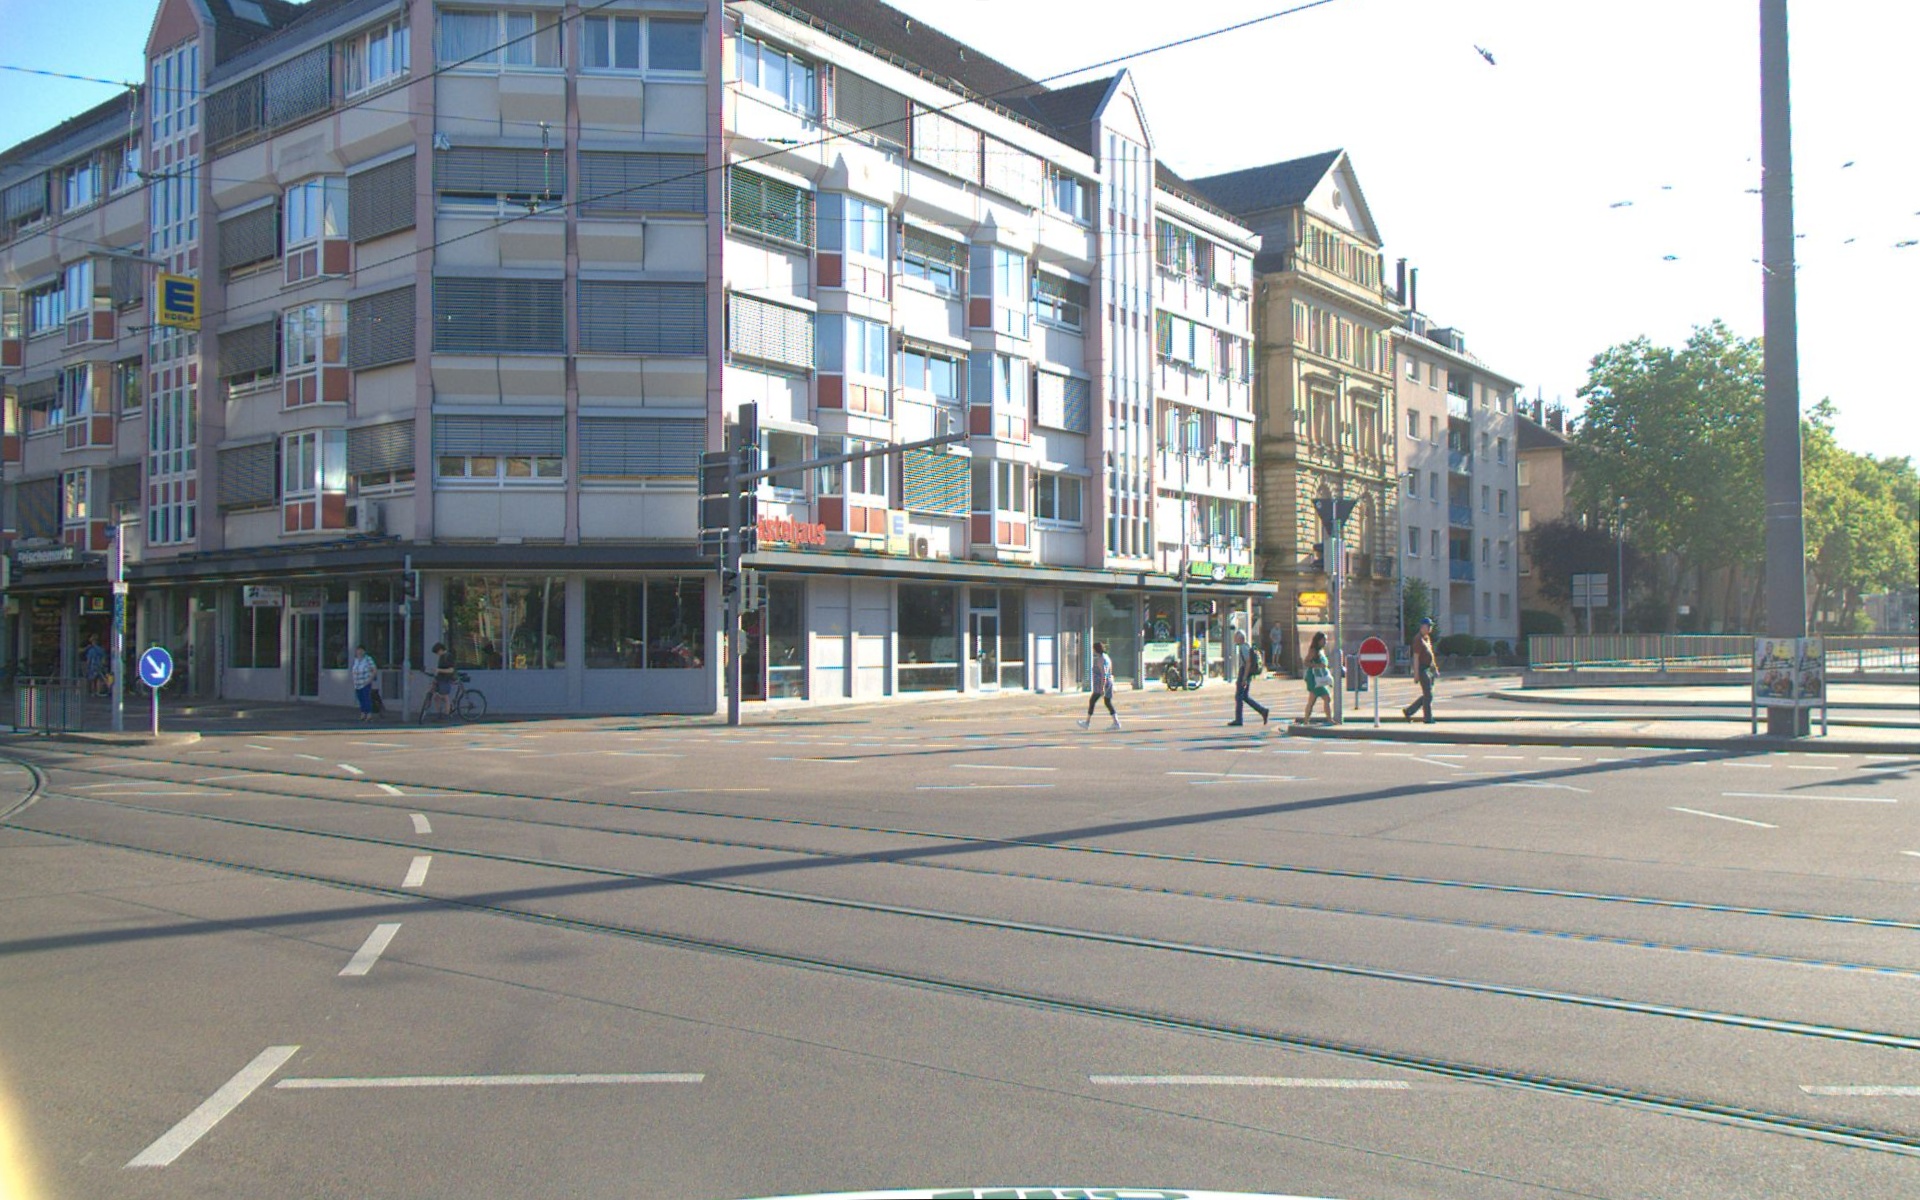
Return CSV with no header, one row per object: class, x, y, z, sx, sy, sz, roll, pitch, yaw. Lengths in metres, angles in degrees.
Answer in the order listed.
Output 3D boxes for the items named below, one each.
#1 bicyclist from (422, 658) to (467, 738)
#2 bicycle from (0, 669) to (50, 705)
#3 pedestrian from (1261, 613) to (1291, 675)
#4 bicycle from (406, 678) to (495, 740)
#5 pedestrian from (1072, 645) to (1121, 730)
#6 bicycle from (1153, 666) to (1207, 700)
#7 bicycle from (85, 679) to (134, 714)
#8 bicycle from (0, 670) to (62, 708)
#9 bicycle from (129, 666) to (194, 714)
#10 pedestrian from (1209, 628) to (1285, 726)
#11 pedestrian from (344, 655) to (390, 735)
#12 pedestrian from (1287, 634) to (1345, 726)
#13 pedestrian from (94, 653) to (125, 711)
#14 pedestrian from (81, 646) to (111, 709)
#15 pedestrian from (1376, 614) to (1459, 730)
bicyclist,-10.885,2.059,34.939,0.628,1.624,0.655,0,1,38
bicycle,-30.403,2.804,53.451,0.554,1.139,1.644,0,-1,34
pedestrian,12.490,1.732,65.362,0.908,2.440,0.960,1,-1,24
bicycle,-10.786,2.288,35.073,0.628,1.165,1.762,0,1,38
pedestrian,2.487,1.593,30.080,0.835,1.491,0.686,1,-6,6
bicycle,7.232,2.713,54.263,2.071,1.089,0.446,2,-2,-39
bicycle,-24.036,2.713,46.712,2.040,0.933,0.498,-2,-3,41
bicycle,-29.431,2.806,52.432,0.474,1.139,1.644,0,-1,34
bicycle,-21.678,2.426,44.905,2.289,1.248,0.726,-2,-3,41
pedestrian,5.377,1.425,30.985,1.172,1.761,0.854,0,-1,31
pedestrian,-12.721,2.038,35.514,0.699,1.691,0.634,-1,-2,11
pedestrian,5.868,1.303,27.254,0.691,1.479,0.854,0,-1,30
pedestrian,-24.752,2.385,48.138,0.597,1.664,0.602,1,-1,-9
pedestrian,-26.236,2.355,50.216,0.593,1.885,0.606,0,-2,45
pedestrian,7.829,1.215,28.311,1.172,1.917,0.854,0,-1,31
